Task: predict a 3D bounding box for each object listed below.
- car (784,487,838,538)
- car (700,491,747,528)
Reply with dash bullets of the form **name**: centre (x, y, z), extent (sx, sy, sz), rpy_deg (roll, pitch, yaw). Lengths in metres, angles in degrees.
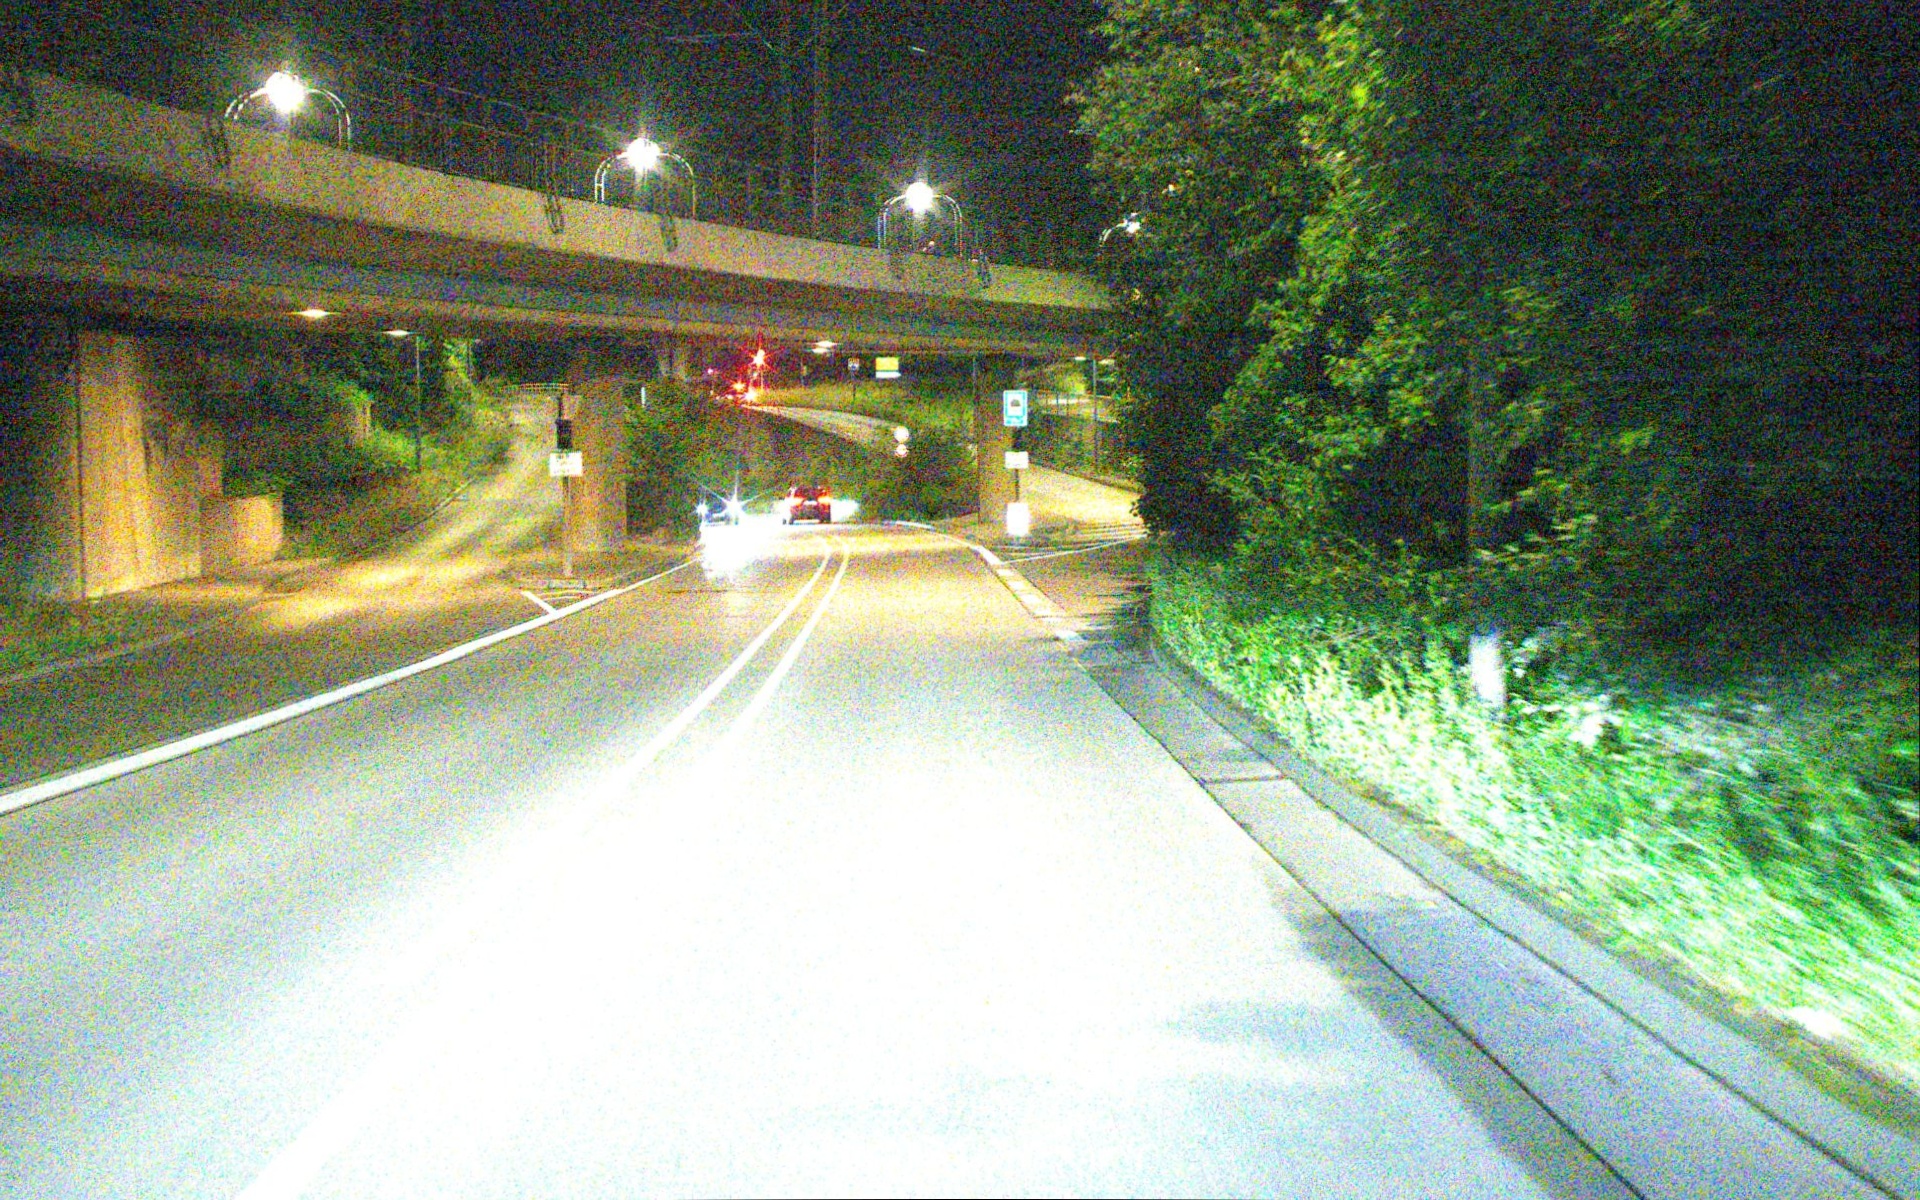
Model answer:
- **car**: centre (-6.221, -3.643, 143.298), extent (1.918, 2.007, 4.123), rpy_deg (1, 0, -6)
- **car**: centre (-10.325, -3.950, 149.937), extent (1.881, 1.549, 4.219), rpy_deg (-2, 1, -5)
